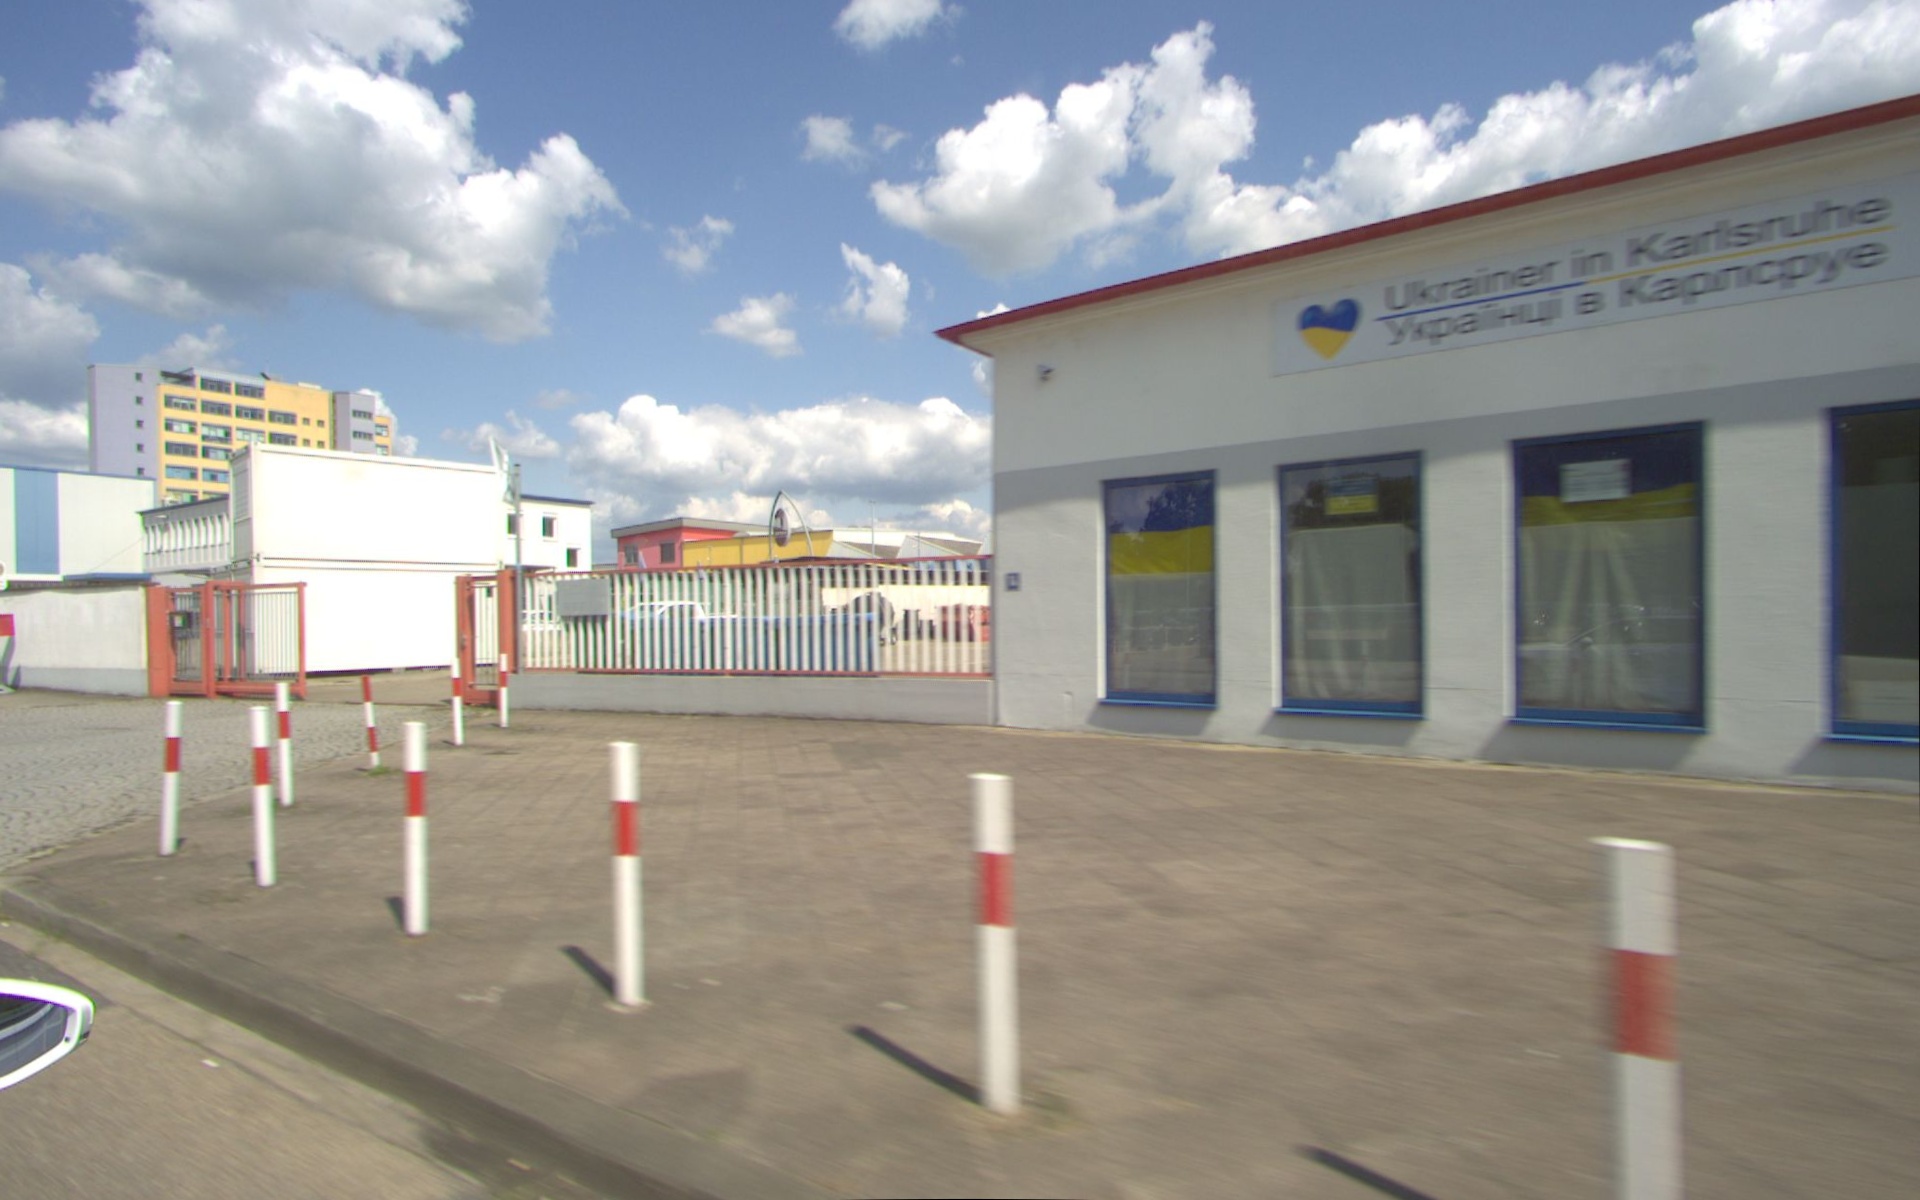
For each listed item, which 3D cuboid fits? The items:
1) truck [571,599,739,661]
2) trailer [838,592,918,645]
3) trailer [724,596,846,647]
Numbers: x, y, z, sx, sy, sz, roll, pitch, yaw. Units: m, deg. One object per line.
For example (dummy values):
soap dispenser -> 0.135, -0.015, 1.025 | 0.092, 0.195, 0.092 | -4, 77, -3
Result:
truck -> -9.318, 0.861, 31.157 | 1.968, 1.767, 5.188 | -1, 0, 27
trailer -> -3.127, 0.690, 39.316 | 1.721, 1.965, 4.746 | -1, 0, 13
trailer -> -6.326, 0.744, 36.753 | 1.968, 1.767, 4.733 | -1, 0, 27
